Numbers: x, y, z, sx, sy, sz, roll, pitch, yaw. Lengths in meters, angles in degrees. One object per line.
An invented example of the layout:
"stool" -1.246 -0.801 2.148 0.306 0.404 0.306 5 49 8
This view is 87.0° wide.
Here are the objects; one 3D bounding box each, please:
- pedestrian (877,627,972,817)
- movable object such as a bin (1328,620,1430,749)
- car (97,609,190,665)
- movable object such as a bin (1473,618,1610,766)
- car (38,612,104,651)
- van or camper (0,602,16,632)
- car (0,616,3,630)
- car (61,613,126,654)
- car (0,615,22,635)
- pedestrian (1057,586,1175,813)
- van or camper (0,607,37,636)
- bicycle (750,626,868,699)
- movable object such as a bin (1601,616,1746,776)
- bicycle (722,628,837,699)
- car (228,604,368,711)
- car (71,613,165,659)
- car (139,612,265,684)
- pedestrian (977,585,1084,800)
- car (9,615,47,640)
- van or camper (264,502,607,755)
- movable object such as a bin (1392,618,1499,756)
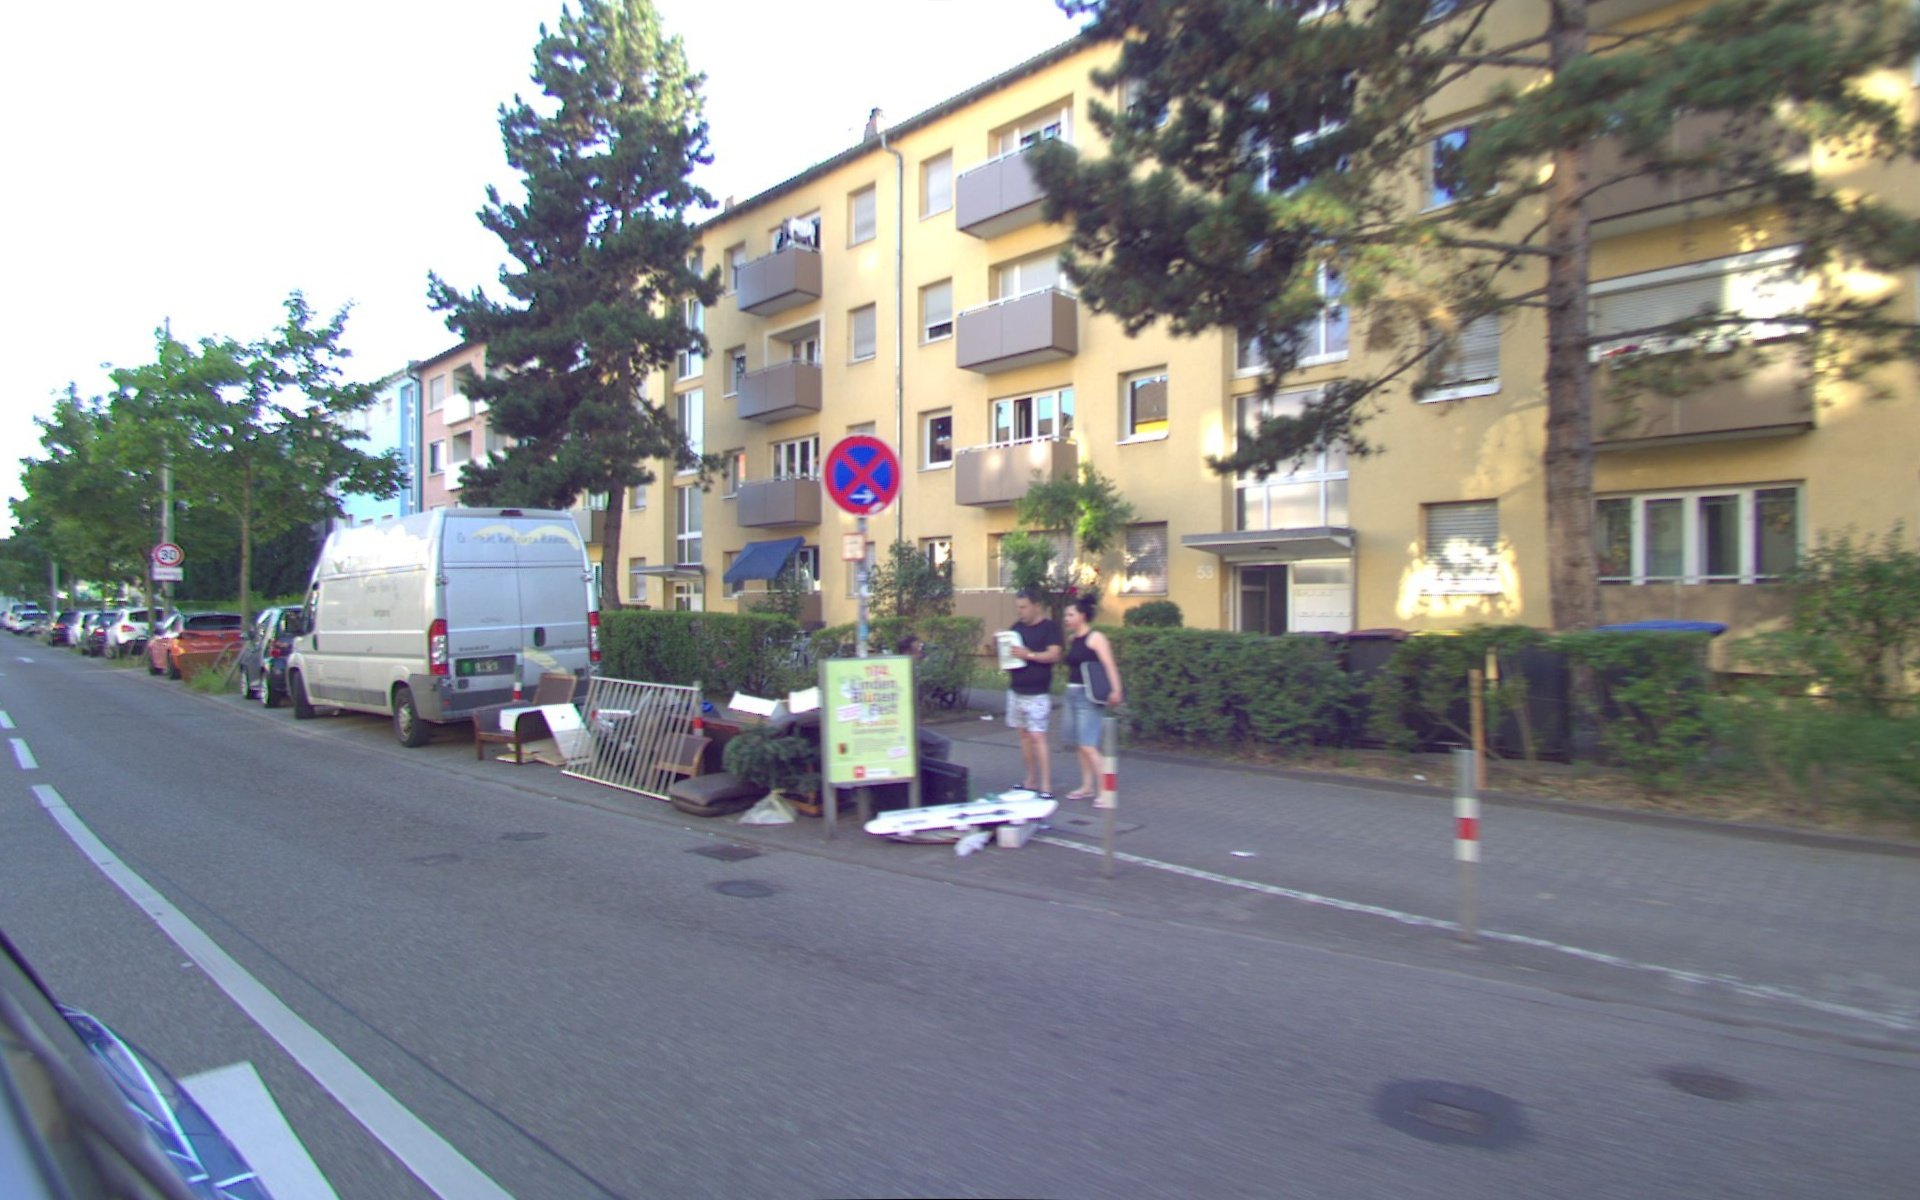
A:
"pedestrian" -0.275 0.922 7.921 0.480 1.388 0.553 -1 0 39
"movable object such as a bin" 3.781 0.731 9.122 0.582 1.058 0.803 -1 2 43
"car" -25.201 1.092 31.170 4.187 1.600 1.756 -1 0 45
"movable object such as a bin" 4.683 0.697 8.141 0.769 1.058 0.858 -1 2 43
"car" -37.893 1.314 43.115 1.816 1.529 4.318 -2 1 -45
"van or camper" -85.125 1.483 89.675 5.336 2.562 1.891 -1 -1 44
"car" -103.645 2.437 108.164 1.737 1.459 3.790 0 -1 -41
"car" -34.038 1.275 39.715 3.642 1.503 1.573 0 0 44
"car" -75.292 1.942 79.823 1.783 1.509 3.959 0 0 -44
"pedestrian" 1.216 0.734 7.895 0.696 1.664 0.599 -1 -1 38
"van or camper" -68.885 1.551 73.929 4.865 2.029 1.784 -1 0 43
"bicycle" -2.283 0.926 15.425 0.590 0.989 1.765 -1 0 45
"movable object such as a bin" 5.348 0.674 7.576 0.769 1.058 0.858 -1 2 43
"bicycle" -2.821 0.977 15.950 0.590 0.989 1.738 -1 0 45
"car" -10.929 0.874 16.648 1.387 1.560 2.764 -2 1 -44
"car" -28.845 1.167 34.628 4.459 1.459 1.971 -1 -1 44
"car" -17.400 1.044 23.171 3.924 1.463 1.698 -1 0 44
"pedestrian" 0.574 0.722 8.269 0.724 1.664 0.475 -1 -1 38
"car" -58.091 1.680 63.051 1.660 1.454 3.884 -2 0 -44
"van or camper" -7.216 0.300 13.518 6.014 2.683 2.014 -1 1 42
"movable object such as a bin" 4.144 0.704 8.623 0.582 1.058 0.858 -1 2 43
